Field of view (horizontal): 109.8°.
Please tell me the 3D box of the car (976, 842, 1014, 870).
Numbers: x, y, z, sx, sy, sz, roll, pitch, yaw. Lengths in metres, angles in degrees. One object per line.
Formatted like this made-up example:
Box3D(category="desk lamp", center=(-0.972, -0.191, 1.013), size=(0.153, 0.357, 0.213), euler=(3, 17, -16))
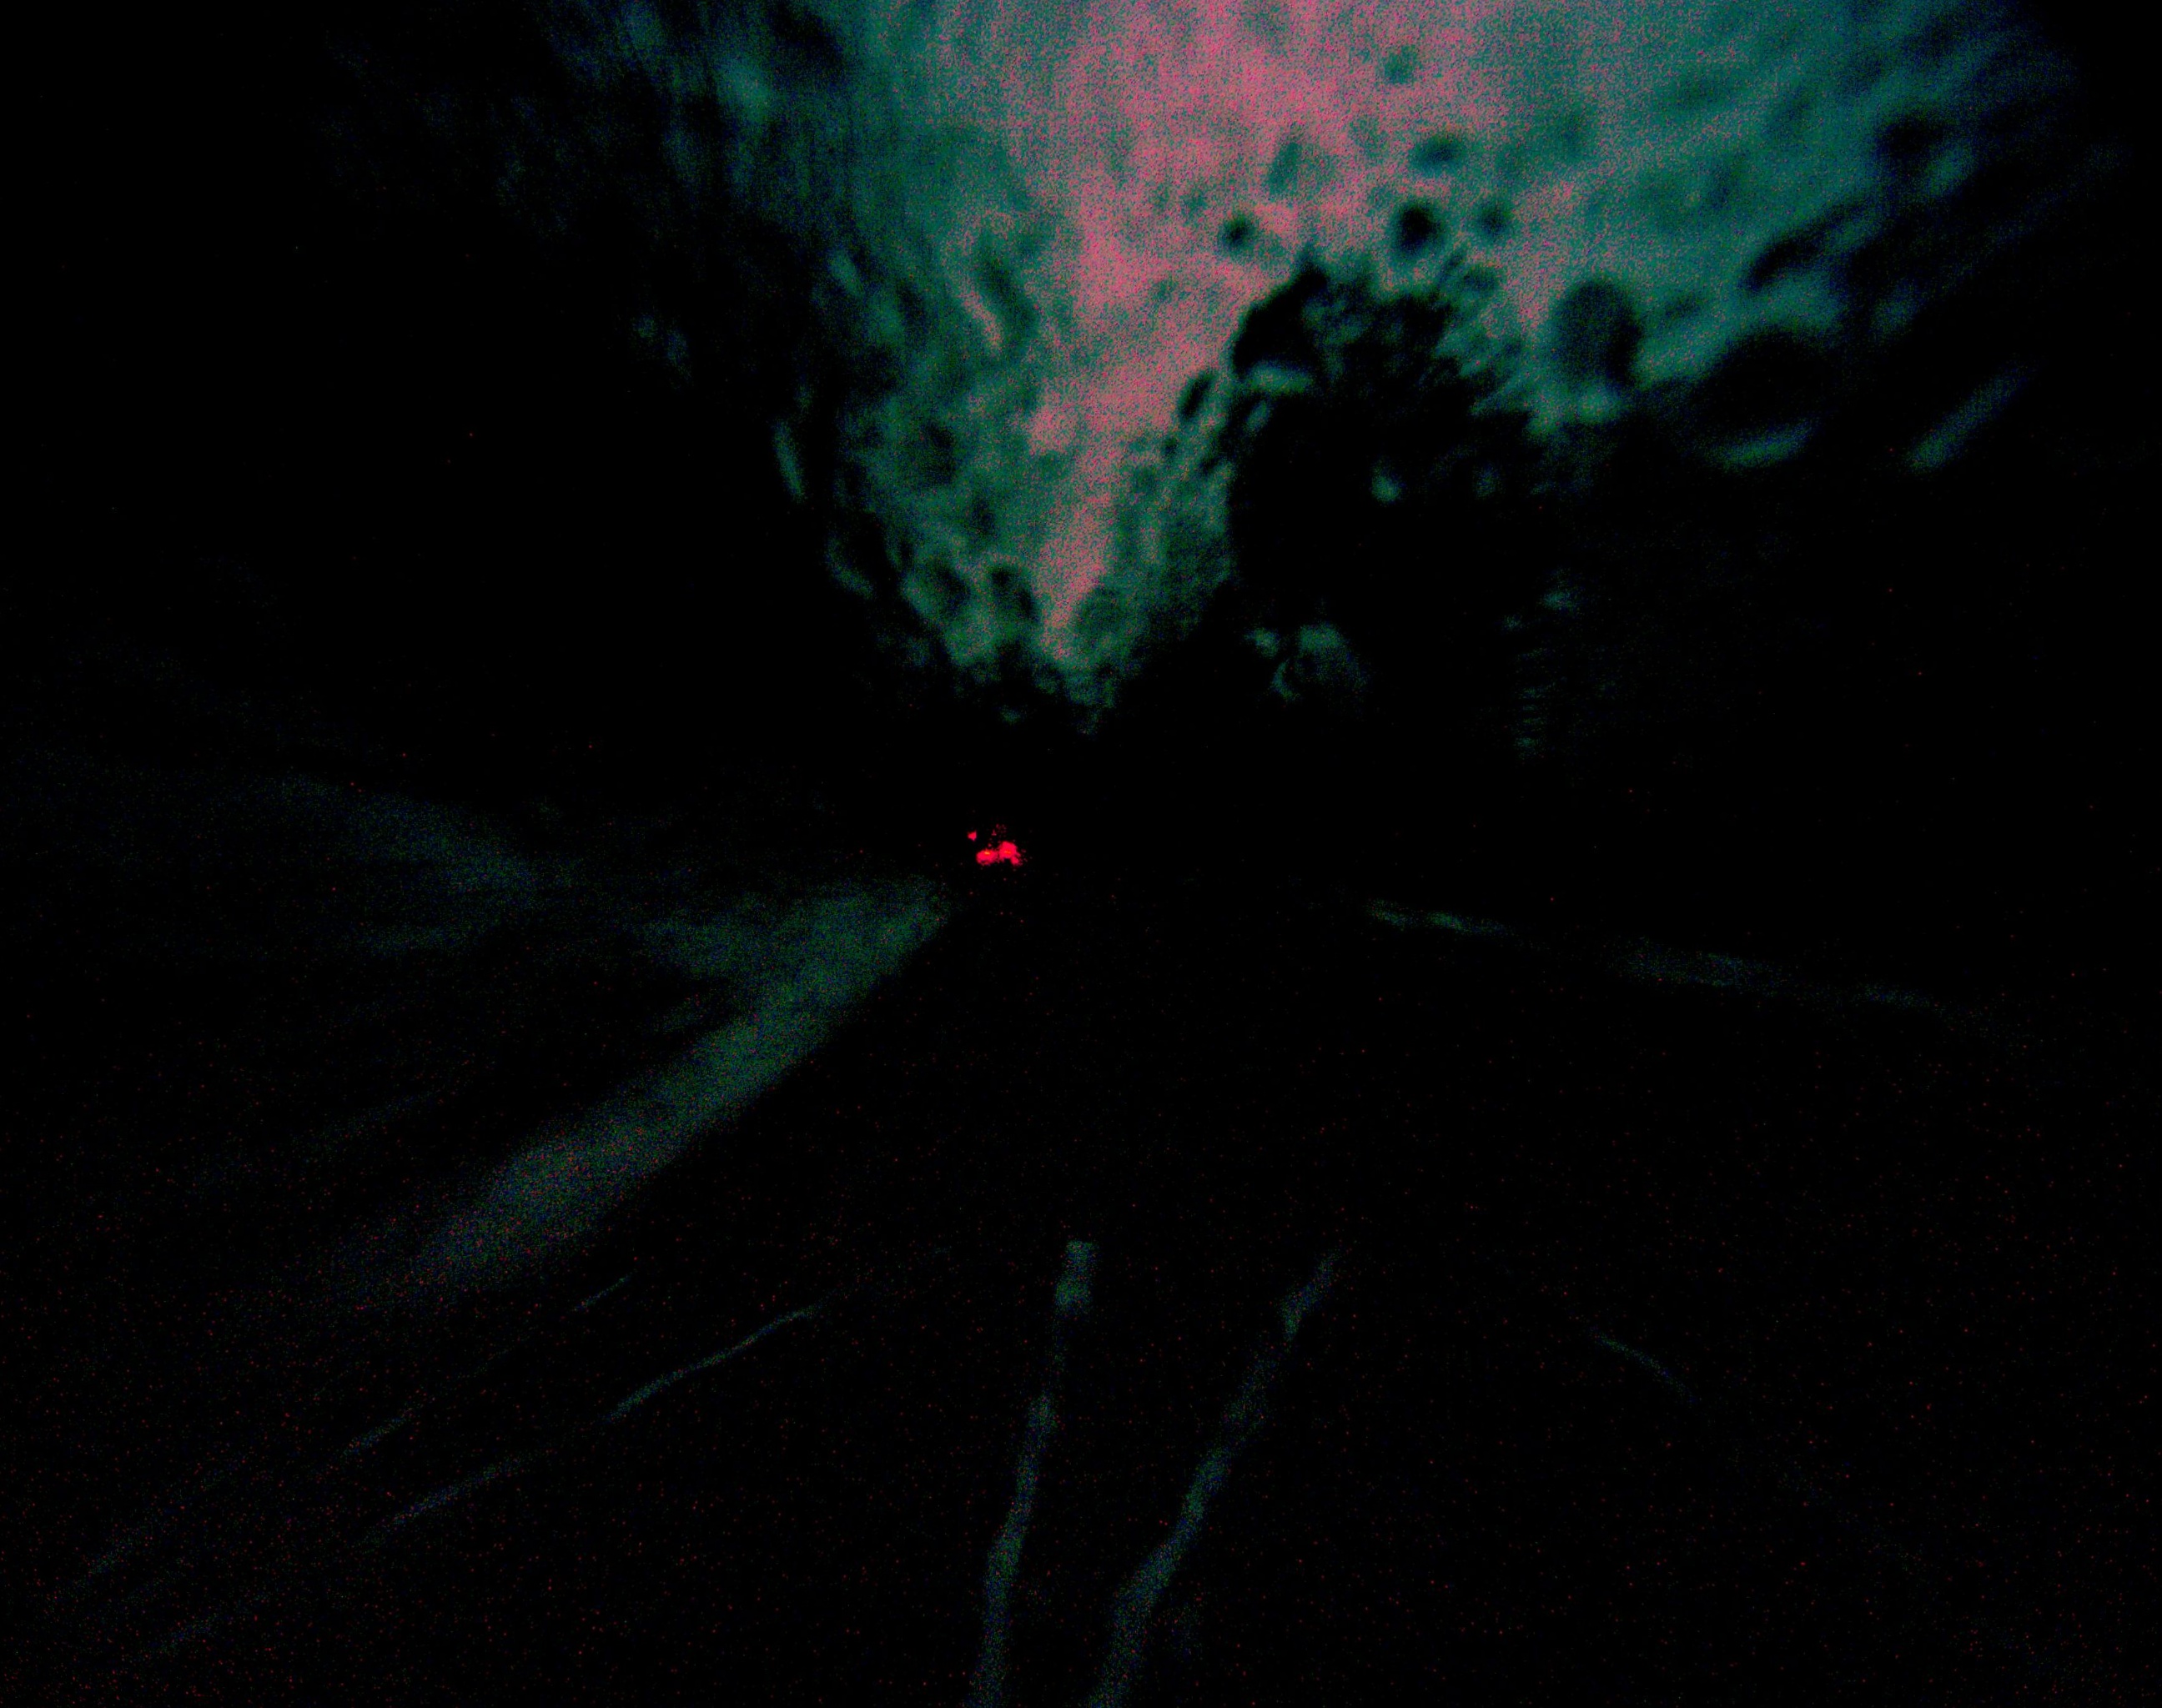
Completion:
Box3D(category="car", center=(-5.592, 0.087, 49.140), size=(1.728, 1.621, 3.994), euler=(-4, 2, -15))
